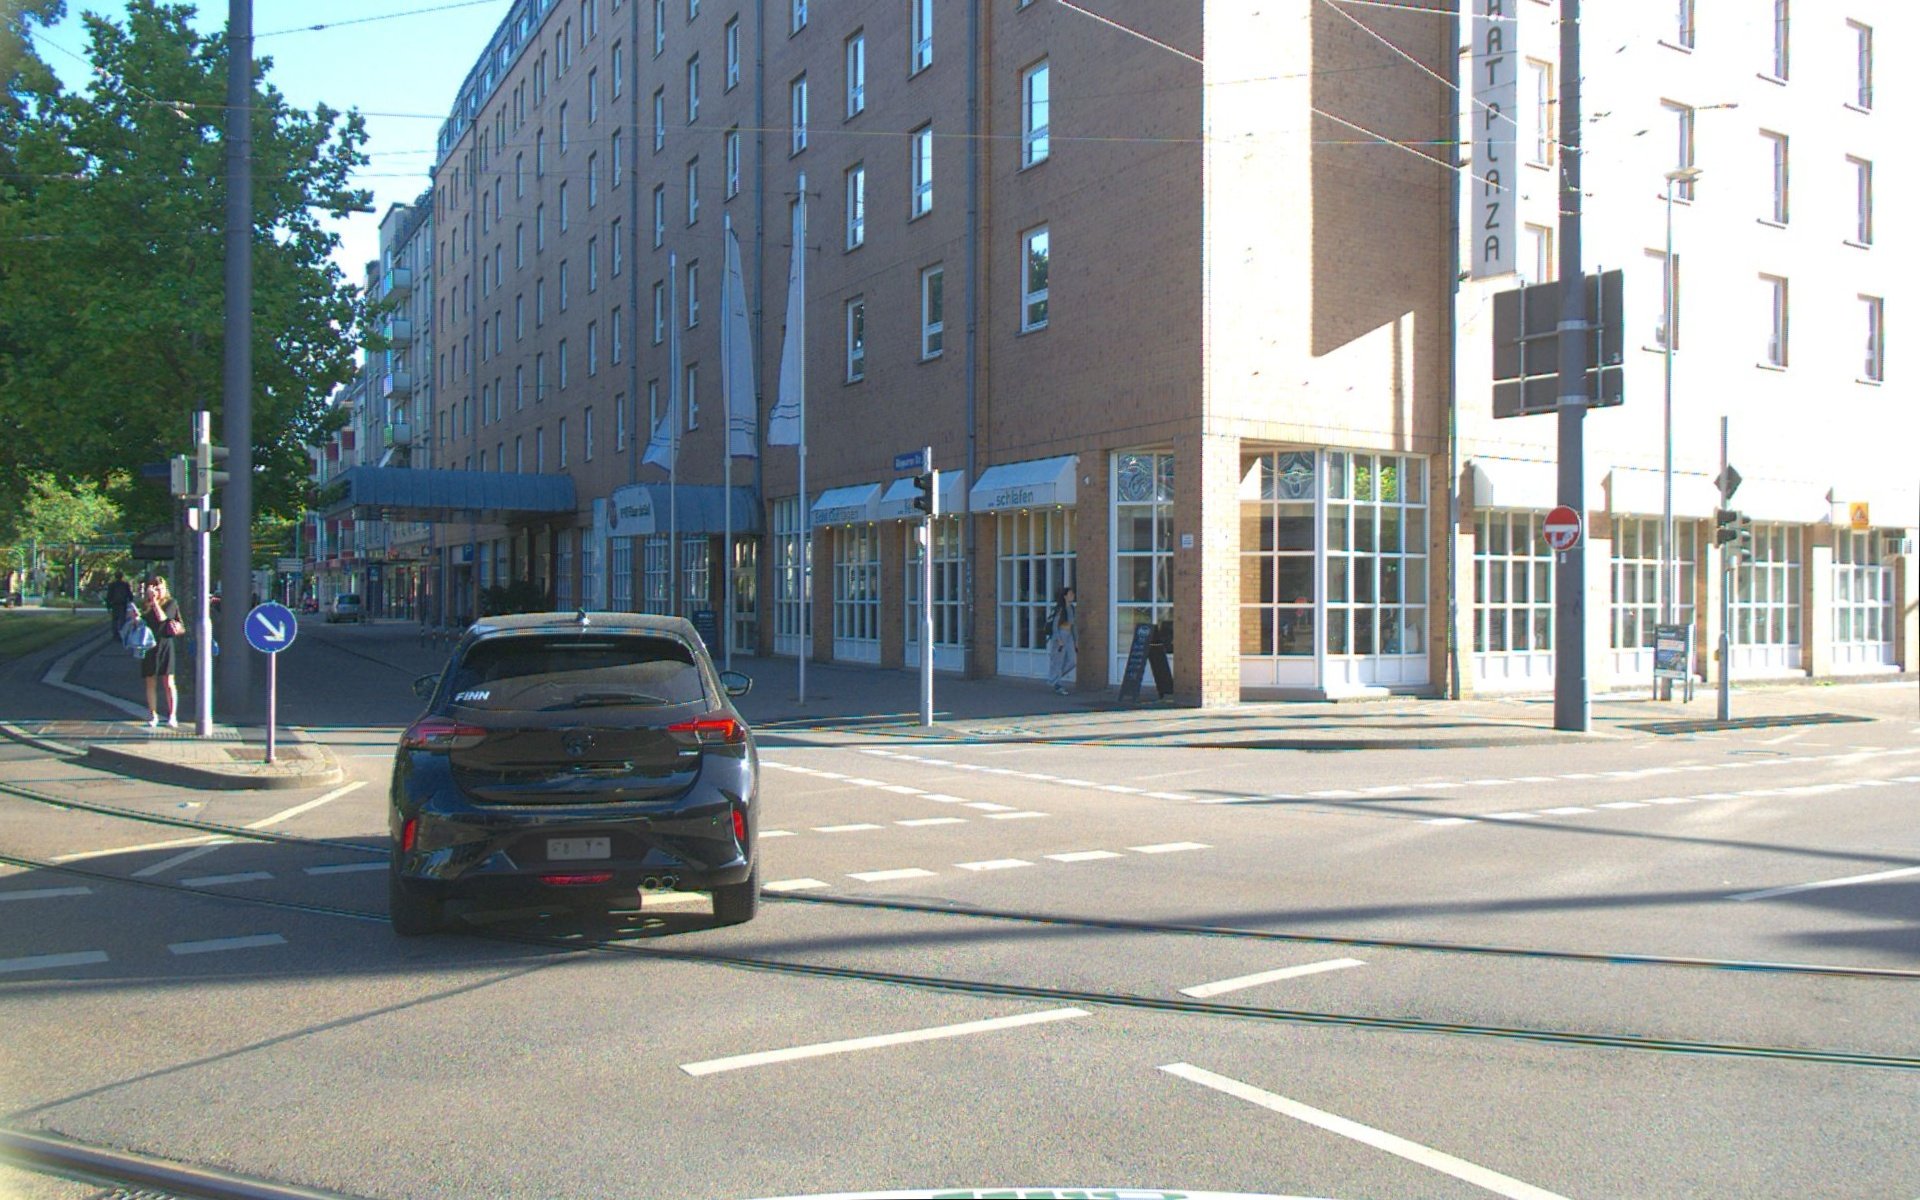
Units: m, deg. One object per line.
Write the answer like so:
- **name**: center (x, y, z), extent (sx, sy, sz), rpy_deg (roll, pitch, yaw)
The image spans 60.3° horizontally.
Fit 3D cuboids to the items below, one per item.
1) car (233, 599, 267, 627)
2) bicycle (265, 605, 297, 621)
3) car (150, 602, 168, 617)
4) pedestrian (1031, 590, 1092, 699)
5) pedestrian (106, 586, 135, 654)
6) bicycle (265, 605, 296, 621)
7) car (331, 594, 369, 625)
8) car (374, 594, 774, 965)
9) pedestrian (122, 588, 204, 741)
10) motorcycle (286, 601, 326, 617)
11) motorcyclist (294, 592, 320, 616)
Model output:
- **car**: center (-40.891, 0.729, 95.263), extent (1.594, 1.528, 3.659), rpy_deg (0, 0, -26)
- **bicycle**: center (-53.731, 1.046, 130.909), extent (2.325, 1.255, 0.678), rpy_deg (0, 0, -25)
- **car**: center (-80.605, 0.942, 166.412), extent (1.594, 1.528, 3.659), rpy_deg (0, 0, -26)
- **pedestrian**: center (1.613, 0.696, 26.373), extent (0.728, 1.695, 0.748), rpy_deg (0, 0, -23)
- **pedestrian**: center (-21.513, 0.511, 42.381), extent (0.596, 1.709, 0.482), rpy_deg (-1, 0, -26)
- **bicycle**: center (-54.470, 1.075, 132.609), extent (2.325, 1.255, 0.678), rpy_deg (0, 0, -25)
- **car**: center (-33.469, 0.498, 90.678), extent (1.650, 1.681, 3.662), rpy_deg (0, 0, -25)
- **car**: center (-1.914, 0.741, 8.813), extent (1.641, 1.528, 3.682), rpy_deg (0, 0, -10)
- **pedestrian**: center (-9.257, 0.732, 19.239), extent (0.703, 1.709, 0.827), rpy_deg (-1, 0, -18)
- **motorcycle**: center (-47.902, 0.656, 121.116), extent (3.034, 1.077, 1.304), rpy_deg (0, 0, 35)
- **motorcyclist**: center (-47.770, 0.291, 121.036), extent (1.212, 1.728, 1.305), rpy_deg (0, 0, 34)
